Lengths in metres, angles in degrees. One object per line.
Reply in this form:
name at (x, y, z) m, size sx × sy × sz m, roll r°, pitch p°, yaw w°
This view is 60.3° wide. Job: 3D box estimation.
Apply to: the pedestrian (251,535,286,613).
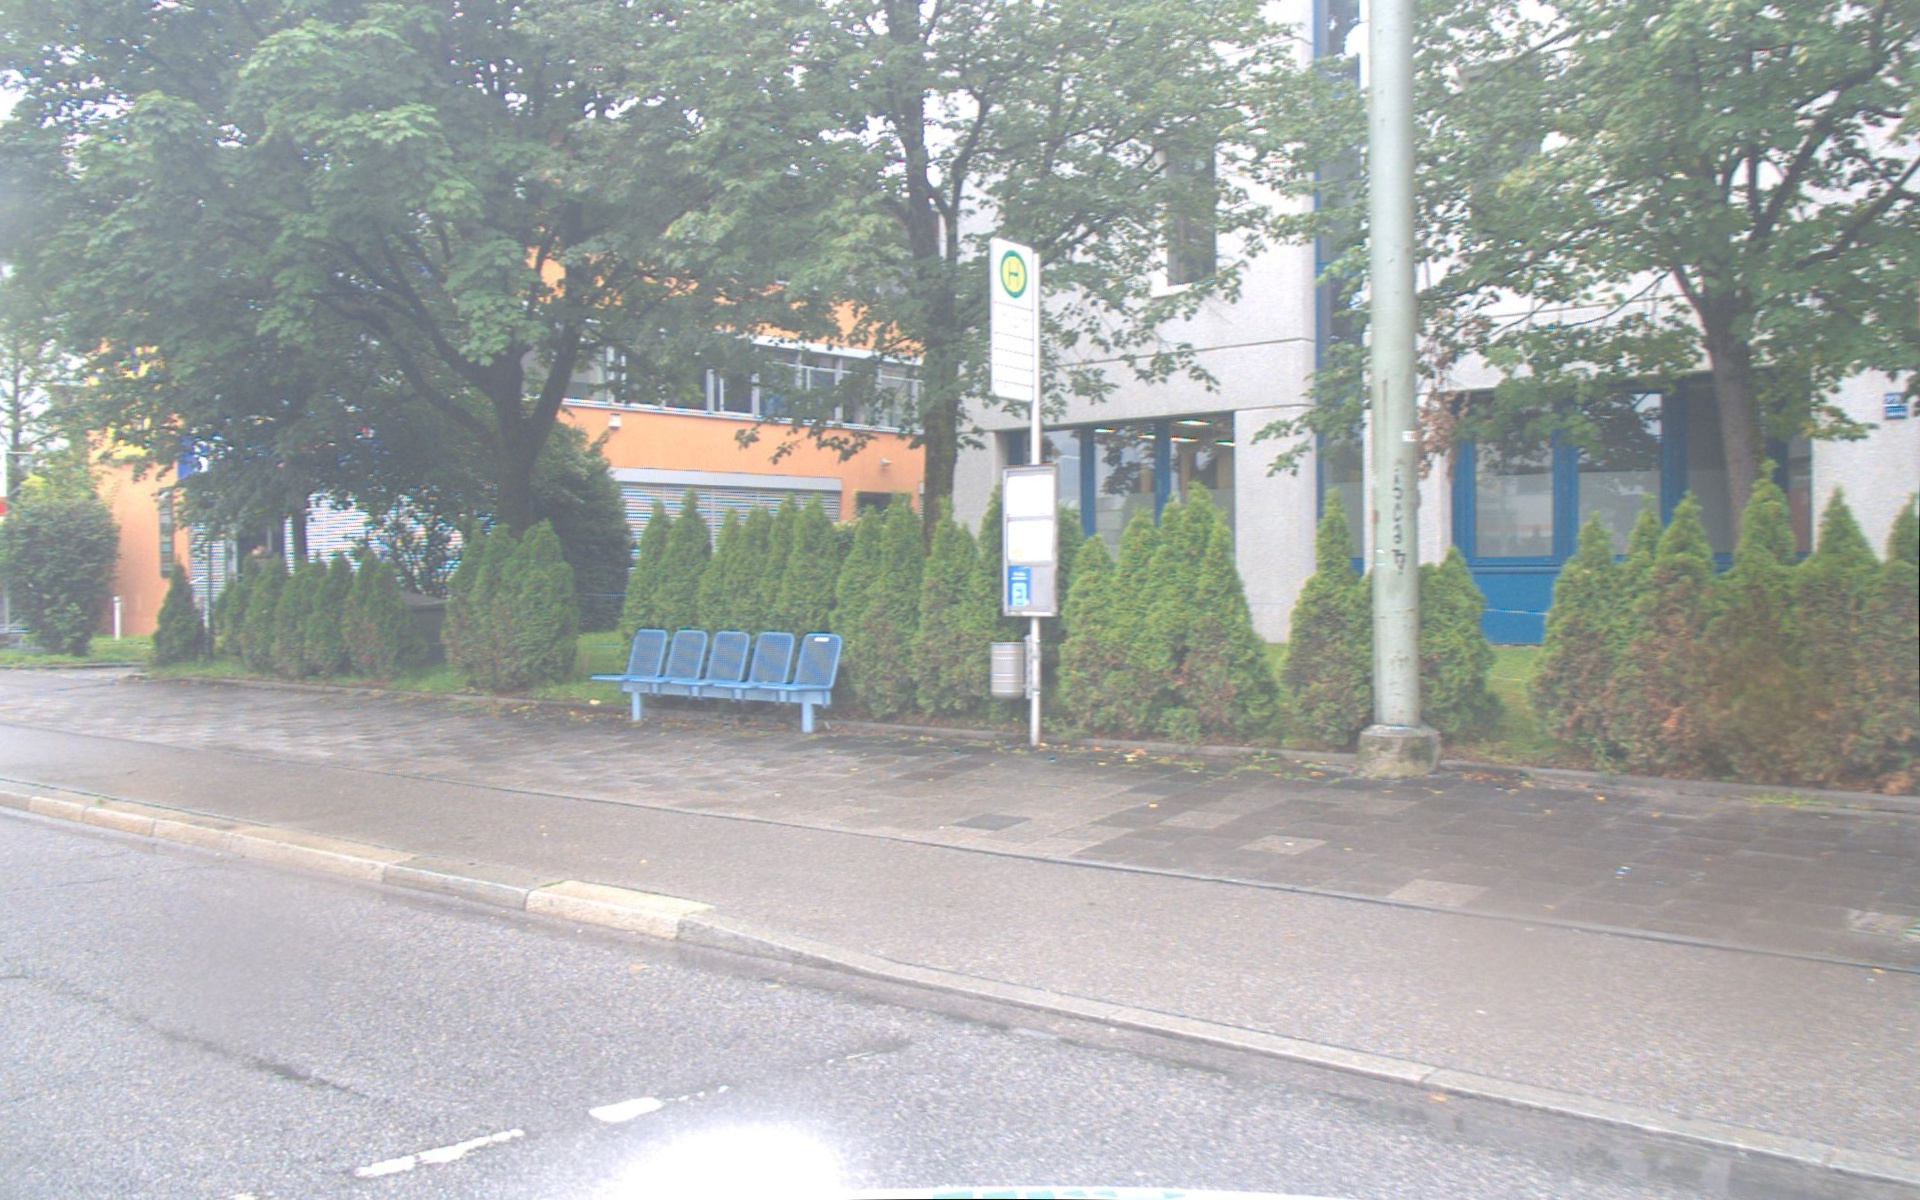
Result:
pedestrian at (-15.657, -0.595, 37.435) m, size 0.650 × 1.741 × 0.658 m, roll -2°, pitch 2°, yaw -25°
